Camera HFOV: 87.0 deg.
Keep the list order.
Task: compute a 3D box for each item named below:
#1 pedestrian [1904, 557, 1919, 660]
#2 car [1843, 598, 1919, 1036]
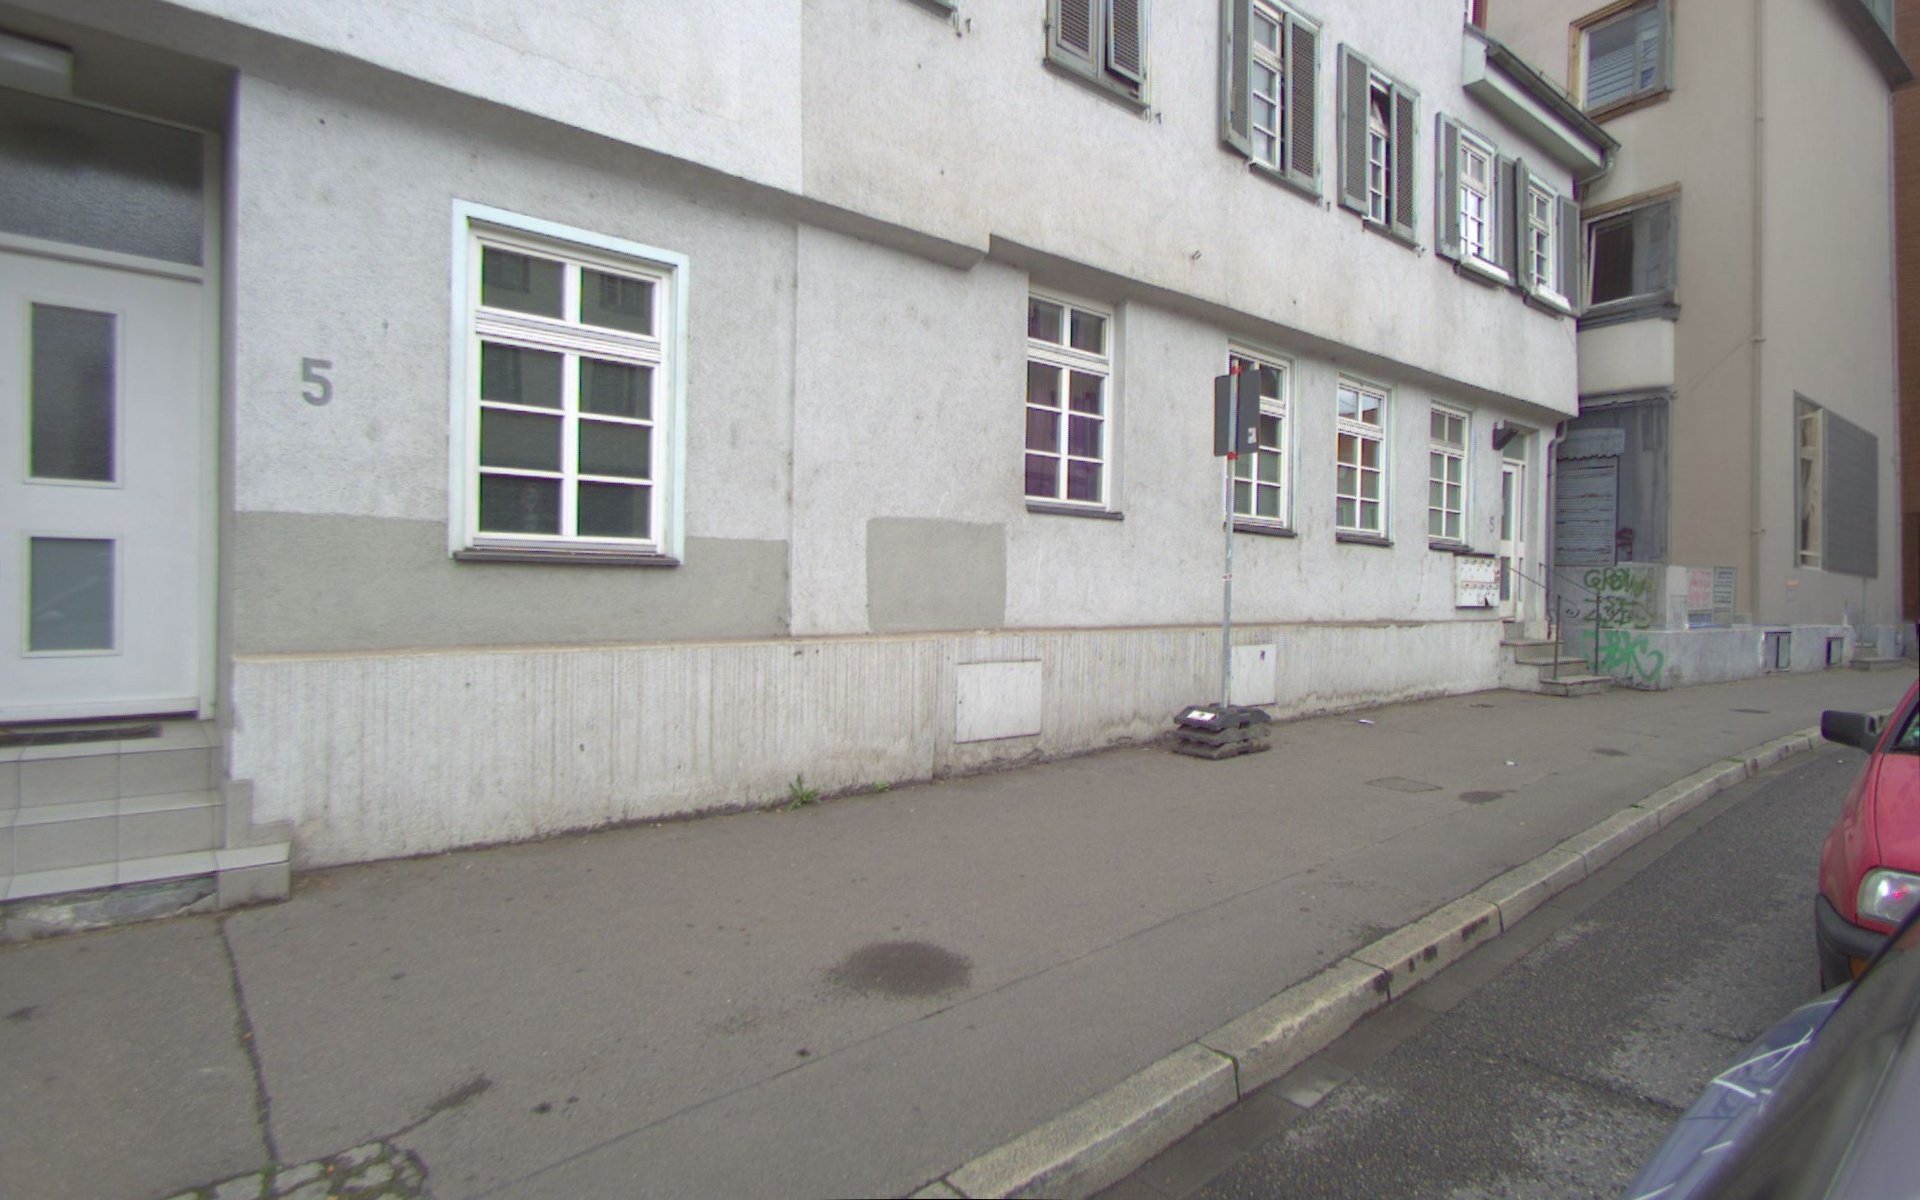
[{"bbox_3d":[16.244,0.164,16.619,0.792,1.687,0.759,1,3,-28],"label":"pedestrian"},{"bbox_3d":[5.093,0.736,4.135,3.950,1.445,1.684,0,1,-41],"label":"car"}]
